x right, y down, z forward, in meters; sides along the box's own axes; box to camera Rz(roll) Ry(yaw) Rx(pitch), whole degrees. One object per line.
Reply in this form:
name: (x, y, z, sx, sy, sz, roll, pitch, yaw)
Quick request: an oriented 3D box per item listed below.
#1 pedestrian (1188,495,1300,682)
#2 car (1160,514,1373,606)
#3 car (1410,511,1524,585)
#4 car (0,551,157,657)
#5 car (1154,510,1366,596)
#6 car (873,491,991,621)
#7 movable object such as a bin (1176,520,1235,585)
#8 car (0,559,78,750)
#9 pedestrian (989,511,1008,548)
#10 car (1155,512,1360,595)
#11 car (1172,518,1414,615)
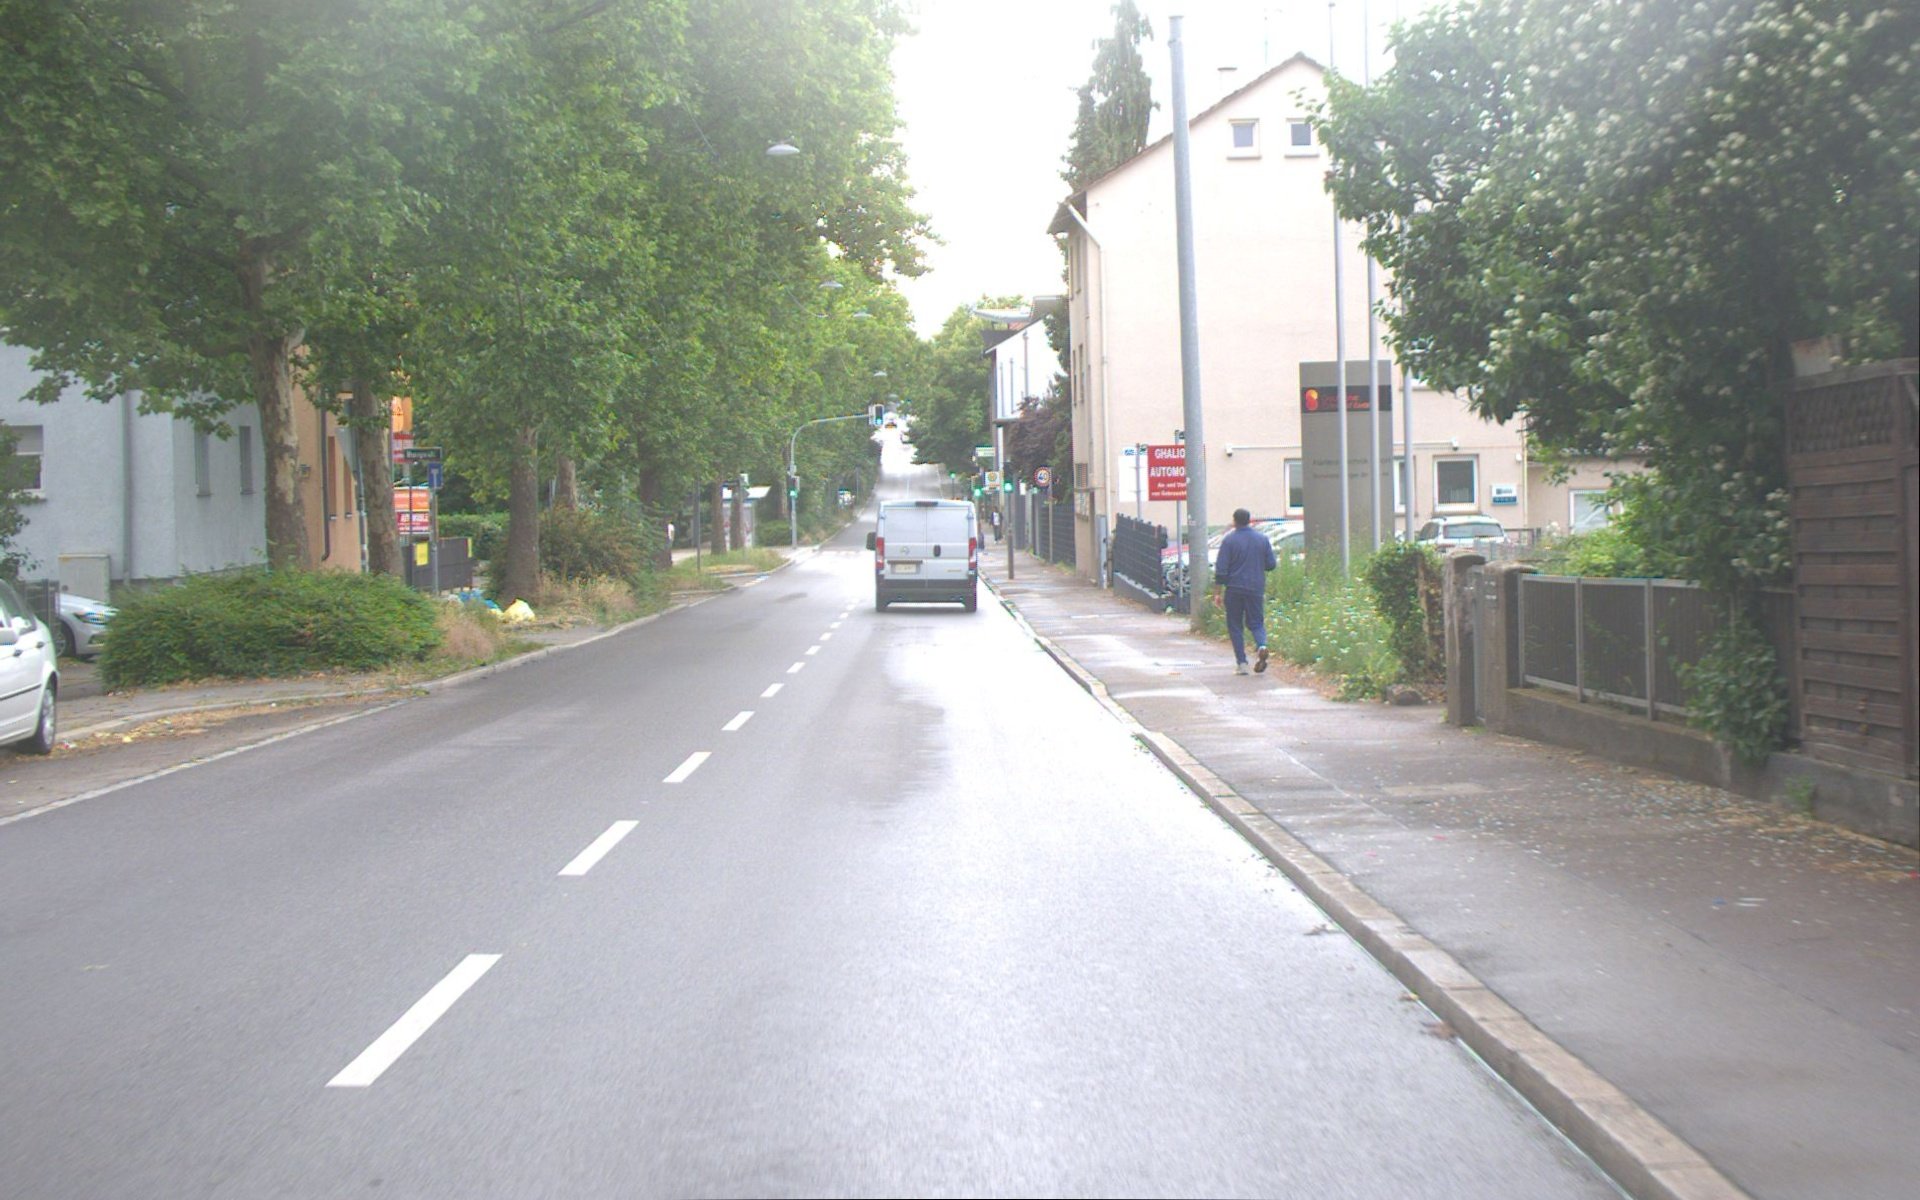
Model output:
pedestrian: (2.930, -0.121, 35.560, 1.043, 1.891, 0.901, -1, 0, 0)
car: (5.921, -0.780, 66.771, 3.948, 1.718, 1.791, 1, 1, 0)
car: (10.831, -1.094, 73.656, 1.808, 1.525, 3.628, 1, 0, -1)
car: (-14.064, 0.035, 49.291, 4.662, 1.471, 1.870, 1, 0, 0)
car: (6.252, -0.976, 72.009, 4.228, 1.730, 1.870, 1, 0, 0)
car: (-0.563, -0.871, 69.532, 2.282, 2.544, 4.000, 0, 0, 0)
movable object such as a bin: (5.907, -1.141, 82.790, 1.234, 1.504, 1.111, -3, 0, -1)
car: (-7.582, 0.377, 24.385, 1.755, 1.321, 4.540, 0, 1, -4)
pedestrian: (1.786, -3.295, 159.975, 0.742, 1.698, 0.902, 1, 0, -6)
car: (6.418, -1.001, 74.477, 4.228, 1.730, 1.870, 1, 0, 0)
car: (6.188, -0.617, 64.296, 4.302, 1.762, 2.000, 0, 0, 0)
